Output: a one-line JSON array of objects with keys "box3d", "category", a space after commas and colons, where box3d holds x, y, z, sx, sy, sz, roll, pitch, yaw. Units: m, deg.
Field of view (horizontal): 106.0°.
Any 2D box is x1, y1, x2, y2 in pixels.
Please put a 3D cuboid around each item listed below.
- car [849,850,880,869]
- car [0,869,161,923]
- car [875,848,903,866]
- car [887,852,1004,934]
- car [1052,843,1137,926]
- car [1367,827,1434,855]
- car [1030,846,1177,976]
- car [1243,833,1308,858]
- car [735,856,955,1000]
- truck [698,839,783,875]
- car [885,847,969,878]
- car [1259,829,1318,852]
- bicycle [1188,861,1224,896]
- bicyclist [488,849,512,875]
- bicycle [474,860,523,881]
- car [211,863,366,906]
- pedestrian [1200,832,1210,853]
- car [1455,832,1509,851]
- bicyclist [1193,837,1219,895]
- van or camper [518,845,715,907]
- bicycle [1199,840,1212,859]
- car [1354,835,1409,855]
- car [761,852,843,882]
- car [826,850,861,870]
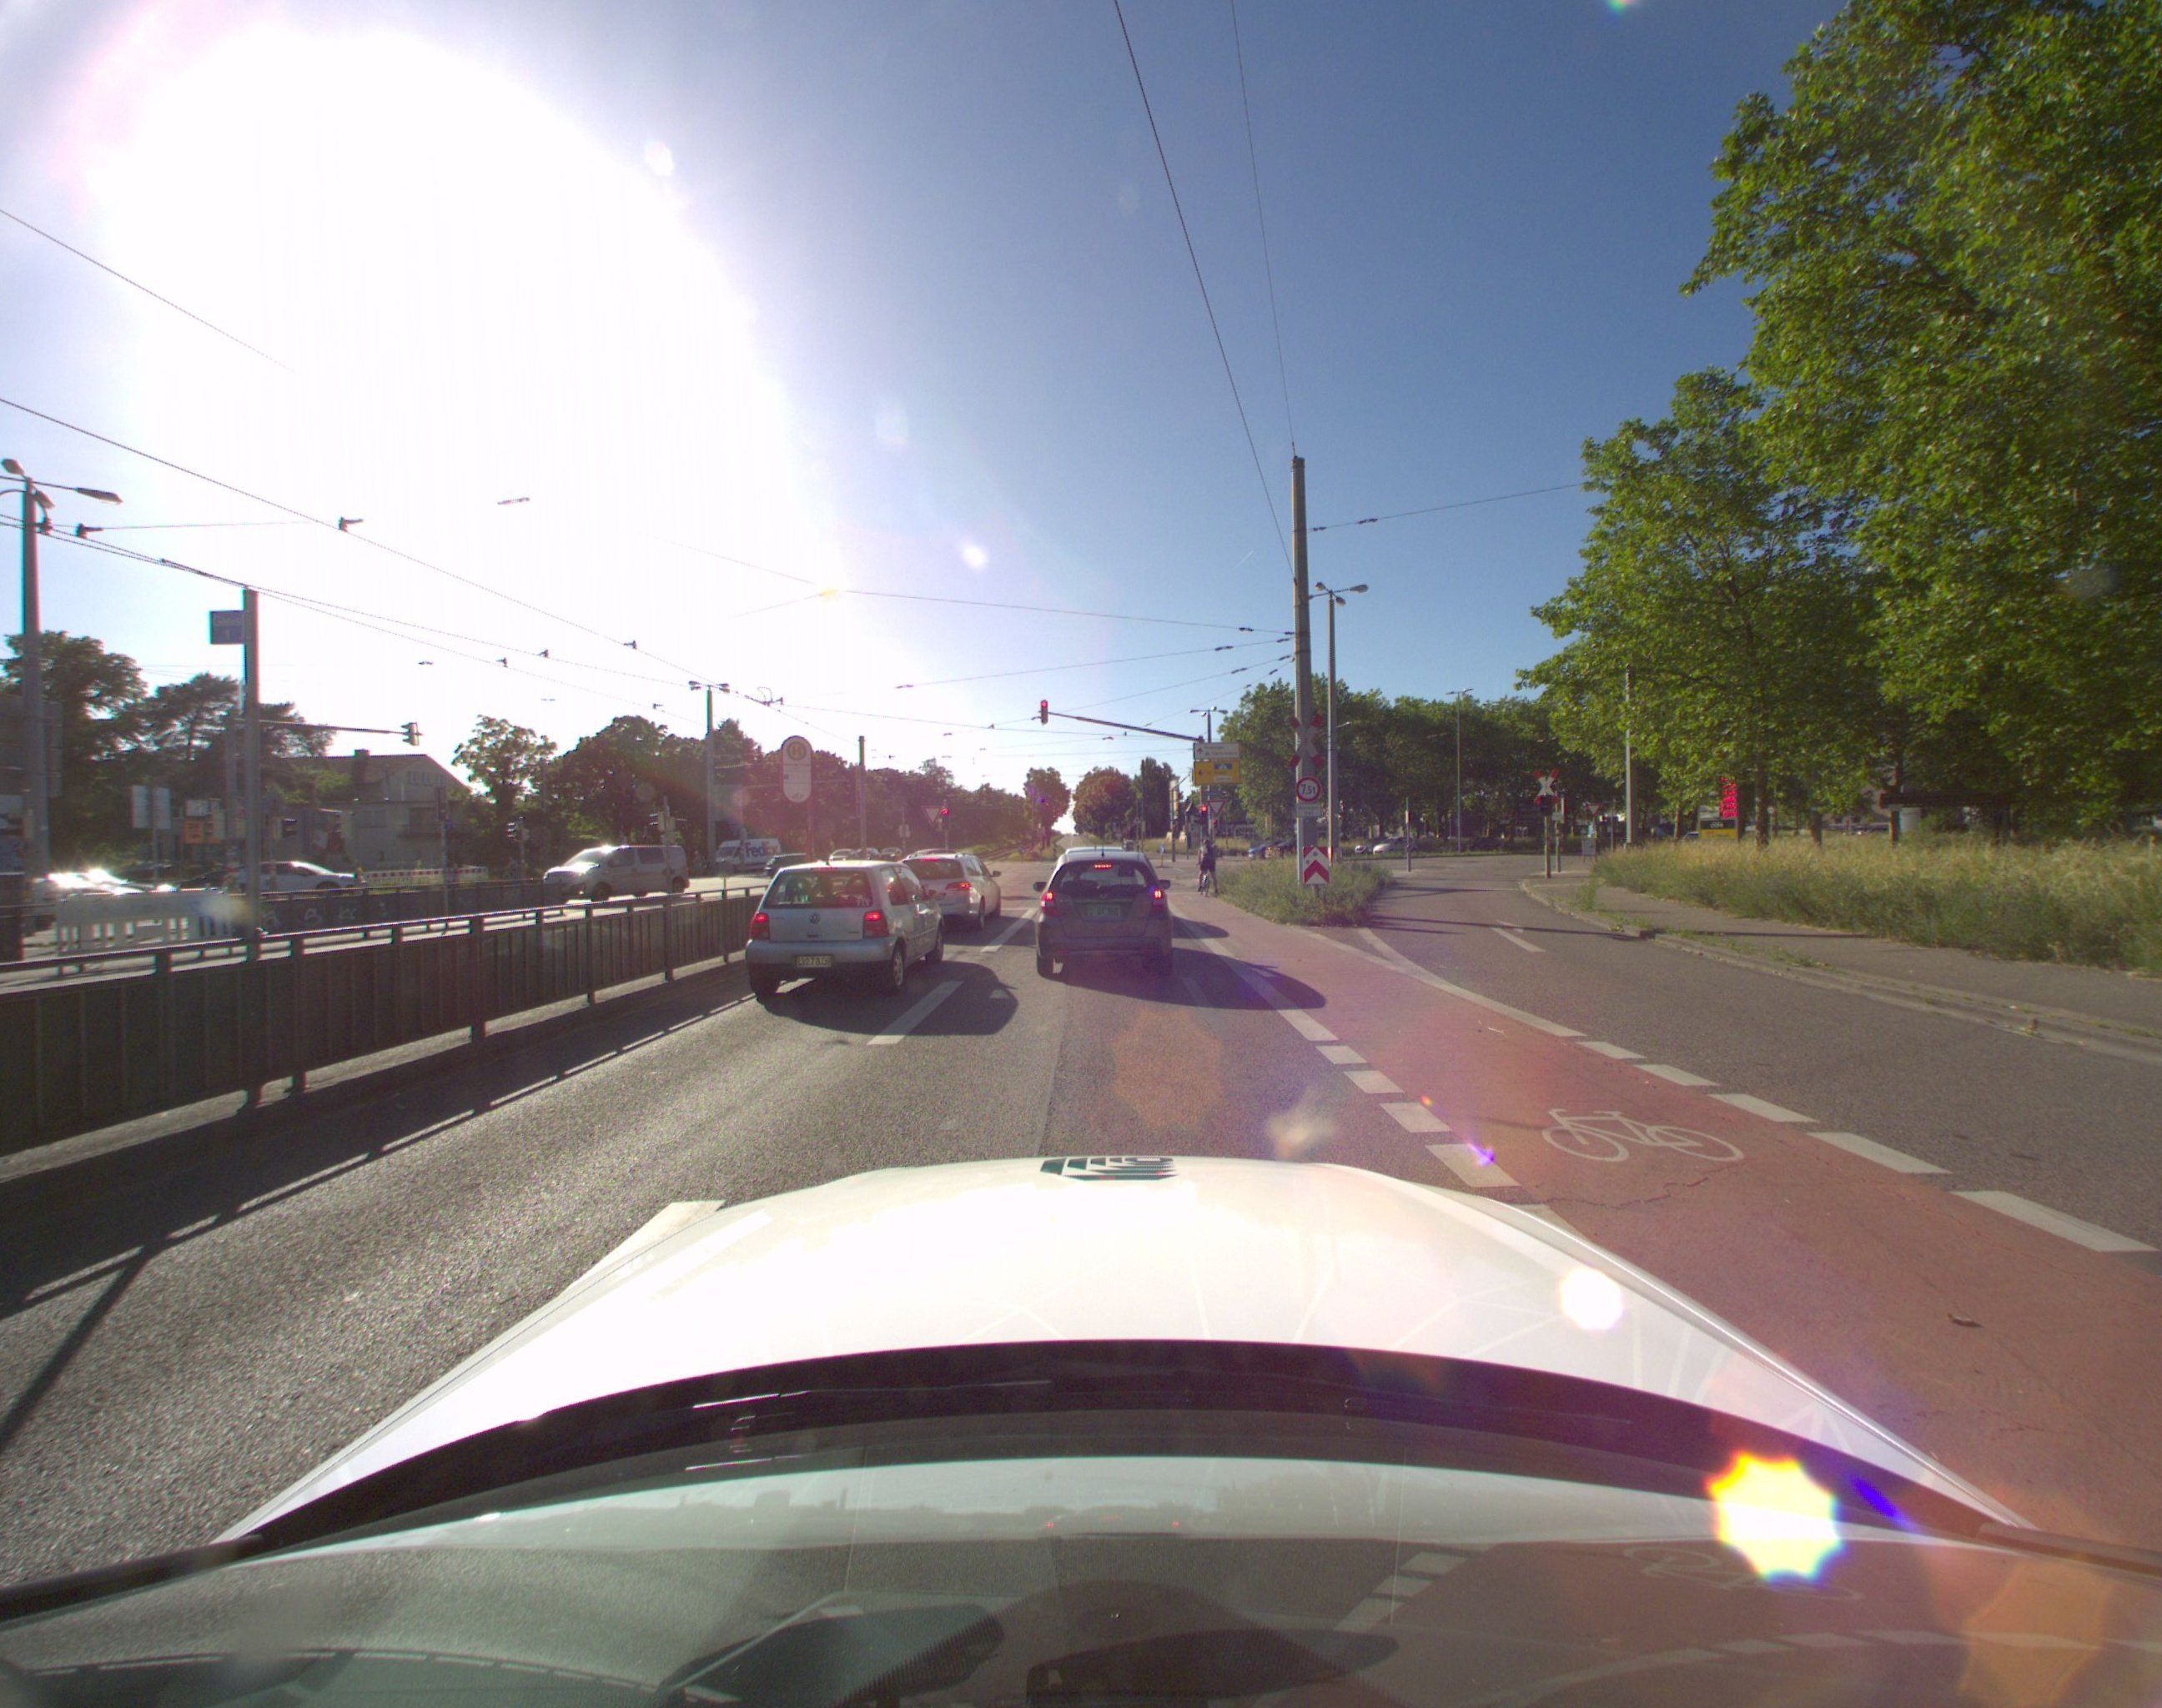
[{"box3d": [-18.622, 0.426, 70.230, 1.829, 1.548, 4.277, -2, 0, -5], "category": "car"}, {"box3d": [-32.301, 1.309, 25.113, 4.844, 1.497, 1.771, -2, 0, -25], "category": "car"}, {"box3d": [-18.468, 0.234, 78.486, 1.991, 1.604, 4.746, 0, 1, -6], "category": "car"}, {"box3d": [-2.631, 0.697, 16.678, 1.613, 1.457, 4.086, -1, 0, 1], "category": "car"}, {"box3d": [0.306, 0.579, 17.811, 1.605, 1.562, 4.289, -1, 0, 1], "category": "car"}, {"box3d": [25.193, -1.029, 64.189, 4.906, 2.013, 1.986, -2, 0, -21], "category": "car"}, {"box3d": [0.253, 0.645, 11.171, 1.663, 1.461, 3.585, -1, 0, 0], "category": "car"}, {"box3d": [15.197, -0.665, 63.681, 4.705, 1.879, 1.986, 0, 0, -21], "category": "car"}, {"box3d": [-2.686, 0.762, 10.045, 1.613, 1.417, 3.352, -2, 0, 1], "category": "car"}, {"box3d": [-25.931, 0.153, 62.391, 1.978, 2.565, 6.854, -1, 0, 17], "category": "truck"}, {"box3d": [-7.751, 0.415, 41.268, 1.589, 1.402, 4.042, -1, 1, 41], "category": "car"}, {"box3d": [15.207, -1.010, 59.592, 4.002, 1.531, 1.594, -2, 1, -21], "category": "car"}, {"box3d": [3.811, 0.724, 24.974, 0.719, 0.989, 2.876, 0, 0, 1], "category": "bicycle"}, {"box3d": [-37.229, 0.497, 52.171, 1.009, 1.647, 0.813, -1, 0, -16], "category": "bicyclist"}, {"box3d": [-37.294, 1.031, 52.161, 2.401, 1.262, 0.813, -1, 0, -17], "category": "bicycle"}, {"box3d": [-31.344, 1.176, 32.347, 4.002, 1.478, 1.703, -2, 0, -22], "category": "car"}, {"box3d": [10.871, -1.002, 71.413, 0.785, 1.836, 0.856, -2, 0, 4], "category": "pedestrian"}, {"box3d": [35.747, -1.107, 72.541, 4.526, 1.574, 1.681, -2, 0, -21], "category": "car"}, {"box3d": [3.810, 0.359, 24.895, 0.663, 1.716, 0.948, 0, 0, 1], "category": "bicyclist"}, {"box3d": [-15.706, 0.671, 28.081, 1.977, 1.828, 6.017, -2, 0, 19], "category": "van or camper"}, {"box3d": [10.900, -0.414, 71.384, 0.814, 1.574, 3.219, -2, 0, 5], "category": "bicycle"}, {"box3d": [25.067, -0.726, 67.940, 3.999, 1.578, 1.868, 0, 0, -19], "category": "car"}, {"box3d": [-14.343, 0.640, 41.907, 3.694, 1.378, 1.510, -2, 0, -39], "category": "car"}, {"box3d": [-18.739, 0.451, 64.437, 1.829, 1.548, 3.993, -2, 0, -5], "category": "car"}]
